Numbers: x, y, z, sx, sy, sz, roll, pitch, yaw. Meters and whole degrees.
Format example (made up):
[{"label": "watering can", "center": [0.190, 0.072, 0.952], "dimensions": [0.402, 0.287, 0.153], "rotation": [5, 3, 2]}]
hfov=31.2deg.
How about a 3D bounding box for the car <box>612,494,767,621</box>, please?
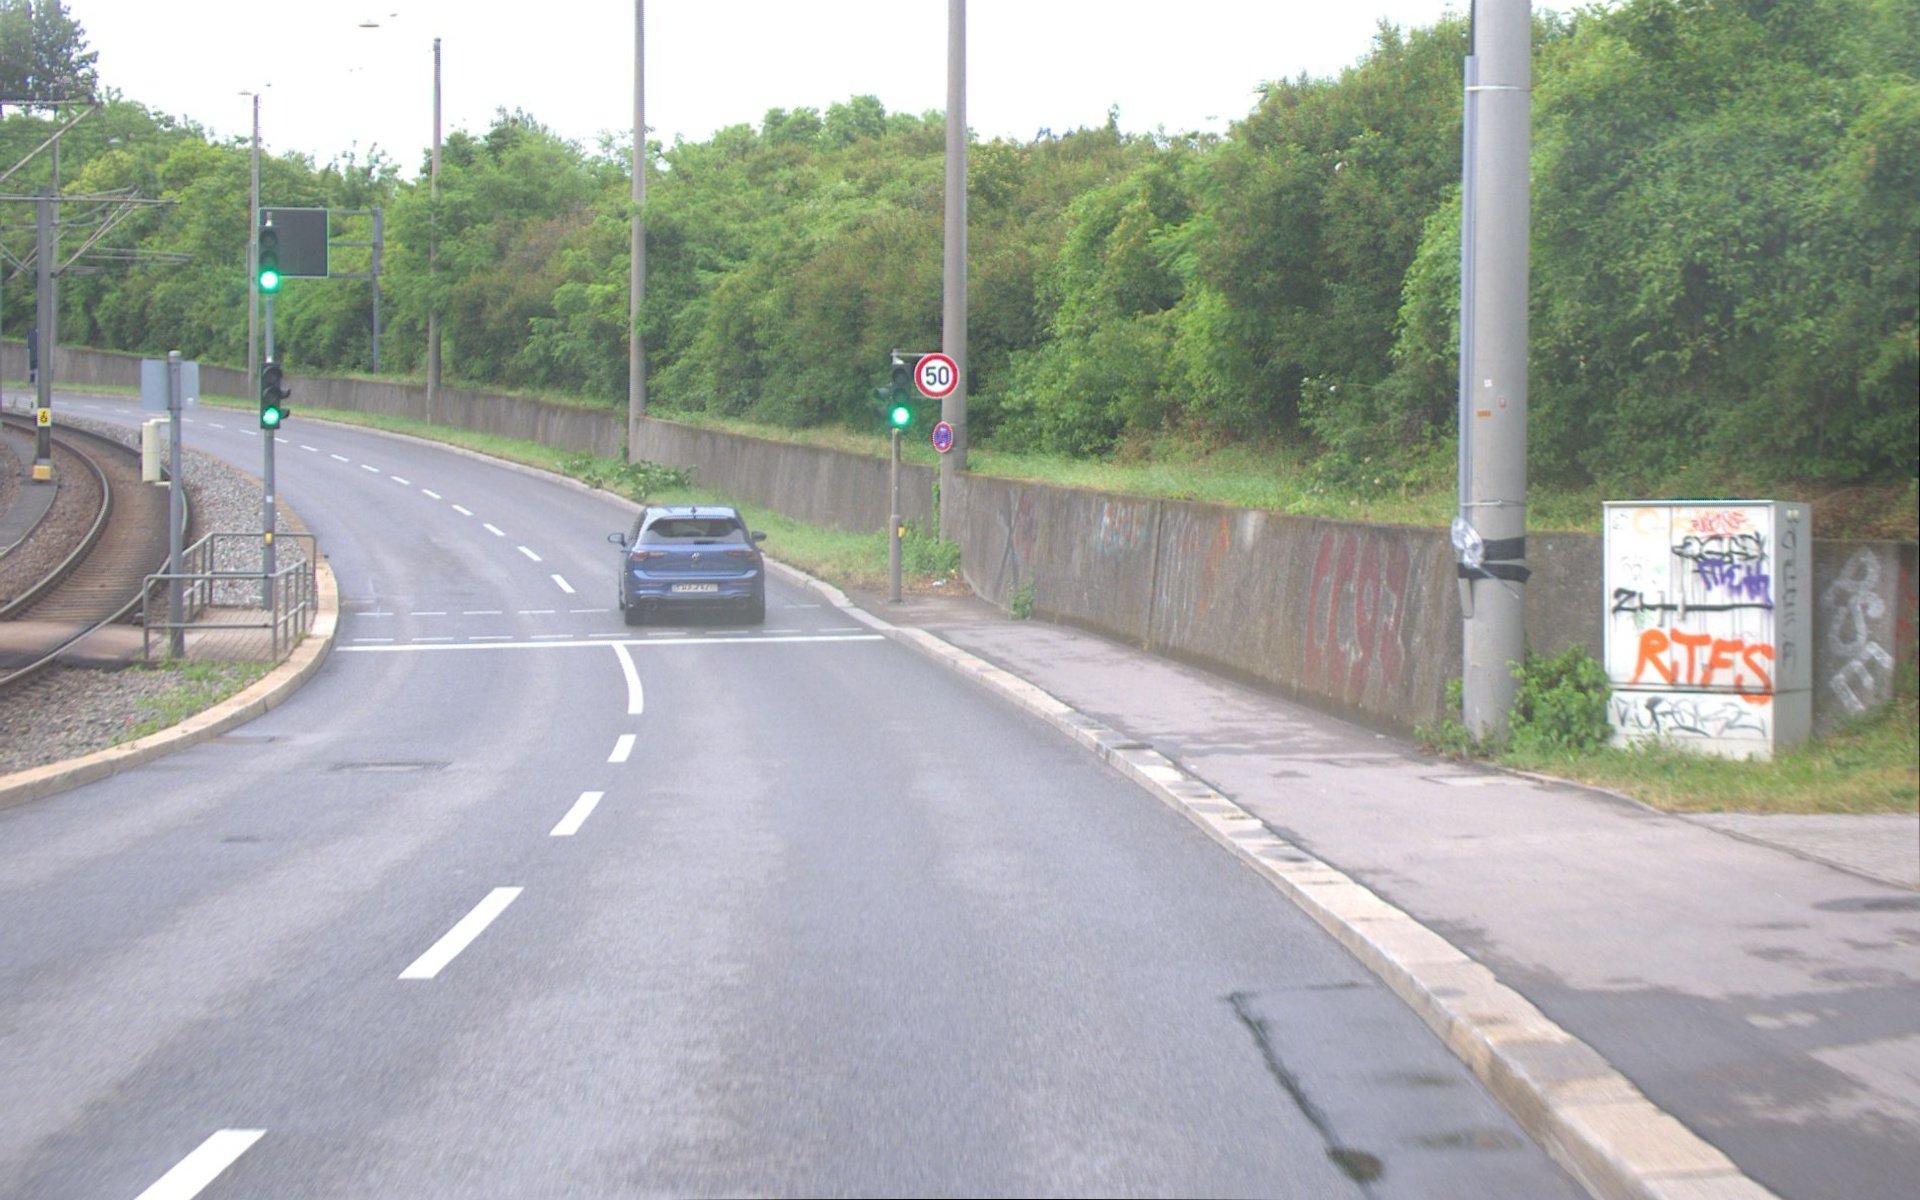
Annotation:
[{"label": "car", "center": [-3.417, -0.580, 44.042], "dimensions": [1.763, 1.496, 4.001], "rotation": [0, 3, -1]}]
